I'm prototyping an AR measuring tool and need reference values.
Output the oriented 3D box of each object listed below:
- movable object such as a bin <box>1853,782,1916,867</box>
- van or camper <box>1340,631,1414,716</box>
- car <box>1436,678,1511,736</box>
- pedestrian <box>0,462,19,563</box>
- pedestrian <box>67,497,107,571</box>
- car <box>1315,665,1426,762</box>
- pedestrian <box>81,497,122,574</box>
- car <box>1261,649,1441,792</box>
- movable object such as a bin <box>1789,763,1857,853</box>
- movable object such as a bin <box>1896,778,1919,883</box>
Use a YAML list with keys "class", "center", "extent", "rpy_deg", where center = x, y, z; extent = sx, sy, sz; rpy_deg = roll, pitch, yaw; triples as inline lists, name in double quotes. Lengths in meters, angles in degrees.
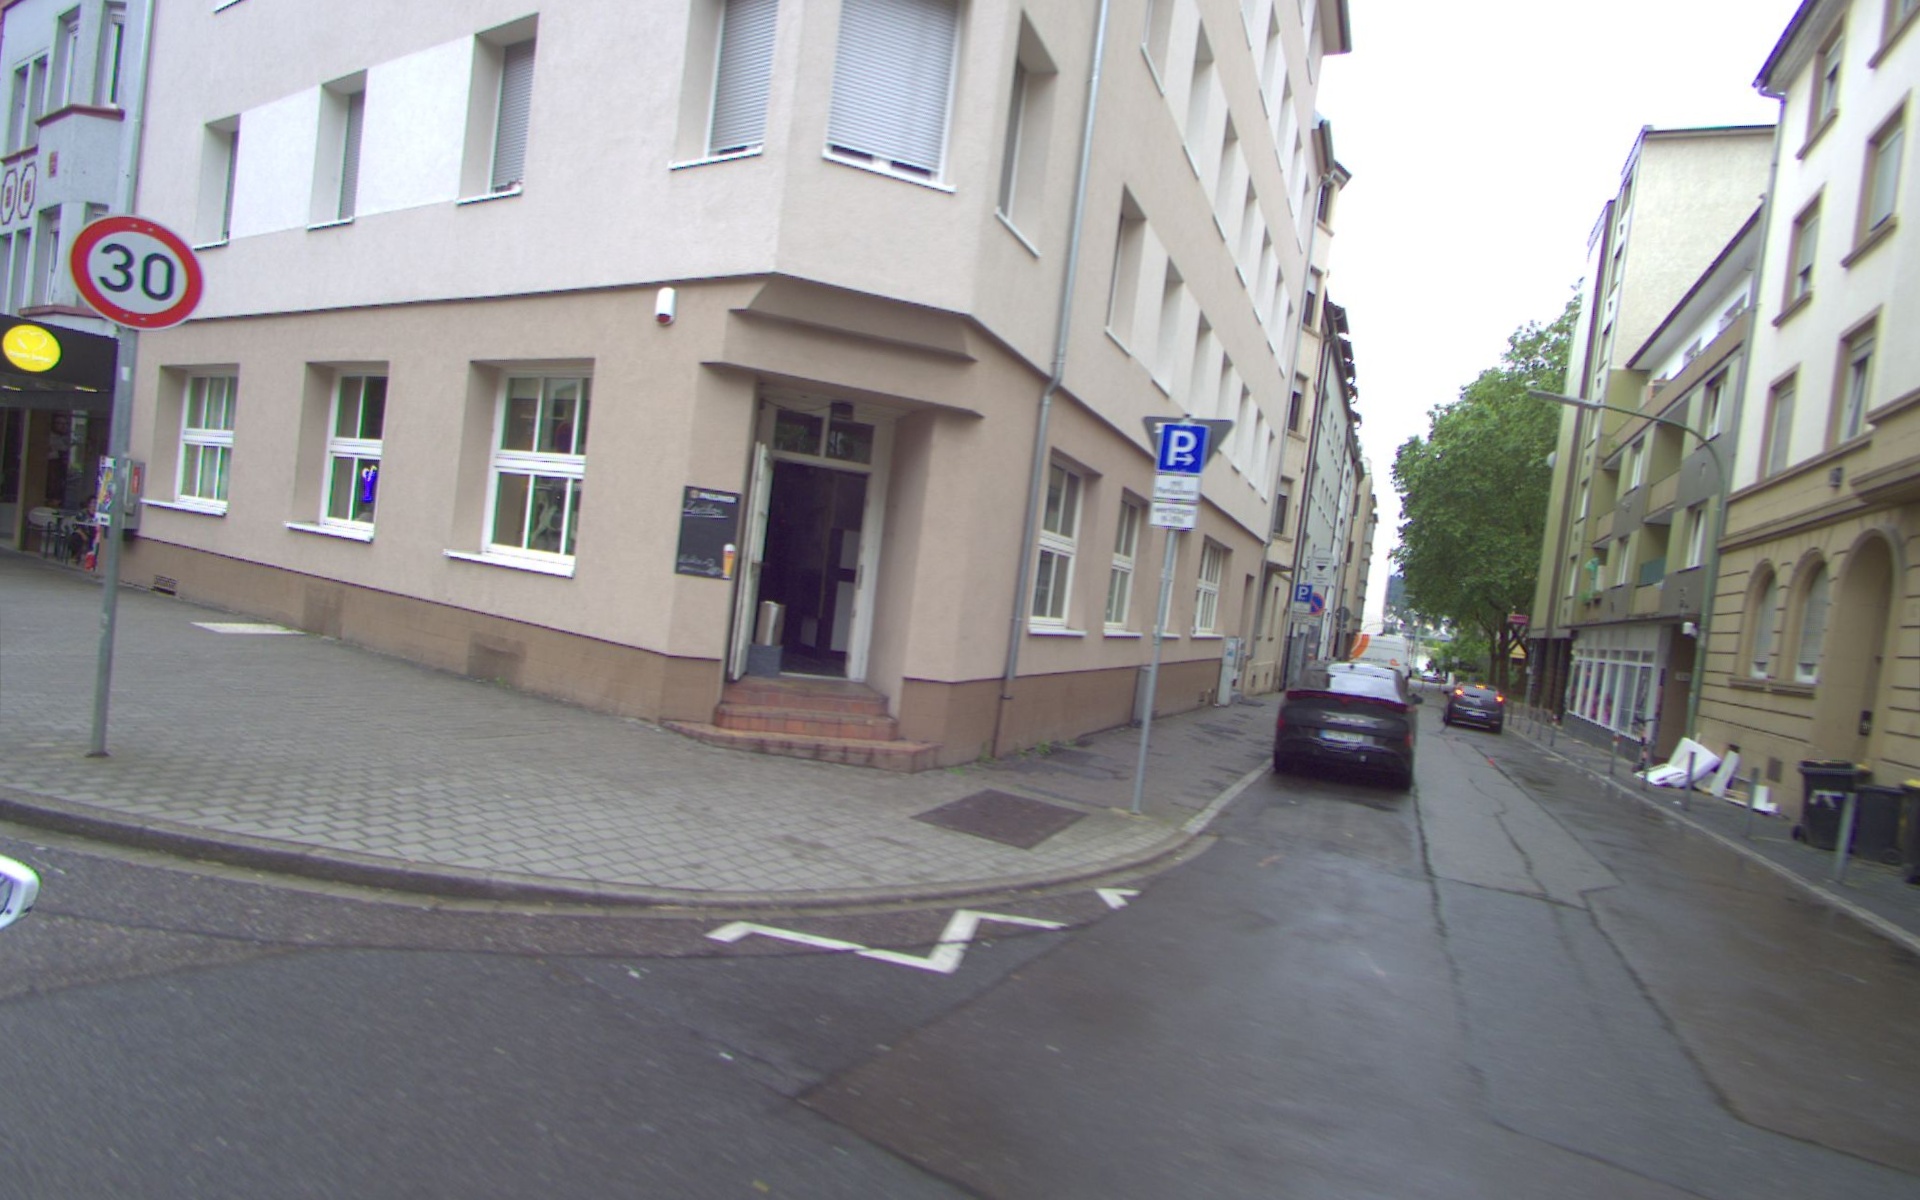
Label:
- class: "movable object such as a bin"
  center: [10.942, 2.648, 11.914]
  extent: [0.417, 0.901, 0.337]
  rpy_deg: [6, -2, 27]
- class: "van or camper"
  center: [14.330, 2.598, 34.554]
  extent: [1.964, 2.518, 4.968]
  rpy_deg: [6, -3, 23]
- class: "car"
  center: [16.940, 3.485, 33.369]
  extent: [1.705, 1.591, 4.000]
  rpy_deg: [6, -1, 22]
- class: "pedestrian"
  center: [-16.625, -1.525, 17.031]
  extent: [0.744, 1.679, 0.750]
  rpy_deg: [5, -3, 39]
- class: "pedestrian"
  center: [-15.061, -1.129, 17.355]
  extent: [0.351, 1.219, 0.412]
  rpy_deg: [8, 4, 35]
- class: "car"
  center: [8.029, 2.130, 19.778]
  extent: [1.705, 1.509, 4.000]
  rpy_deg: [6, -1, 22]
- class: "pedestrian"
  center: [-14.261, -1.069, 16.712]
  extent: [0.351, 1.219, 0.412]
  rpy_deg: [8, 4, 35]
- class: "car"
  center: [5.729, 1.651, 14.793]
  extent: [2.010, 1.570, 4.000]
  rpy_deg: [6, -1, 22]
- class: "movable object such as a bin"
  center: [10.727, 2.577, 12.521]
  extent: [0.495, 1.006, 0.448]
  rpy_deg: [5, -2, 30]
- class: "movable object such as a bin"
  center: [10.203, 2.443, 10.604]
  extent: [0.331, 1.057, 0.387]
  rpy_deg: [6, -2, 27]
